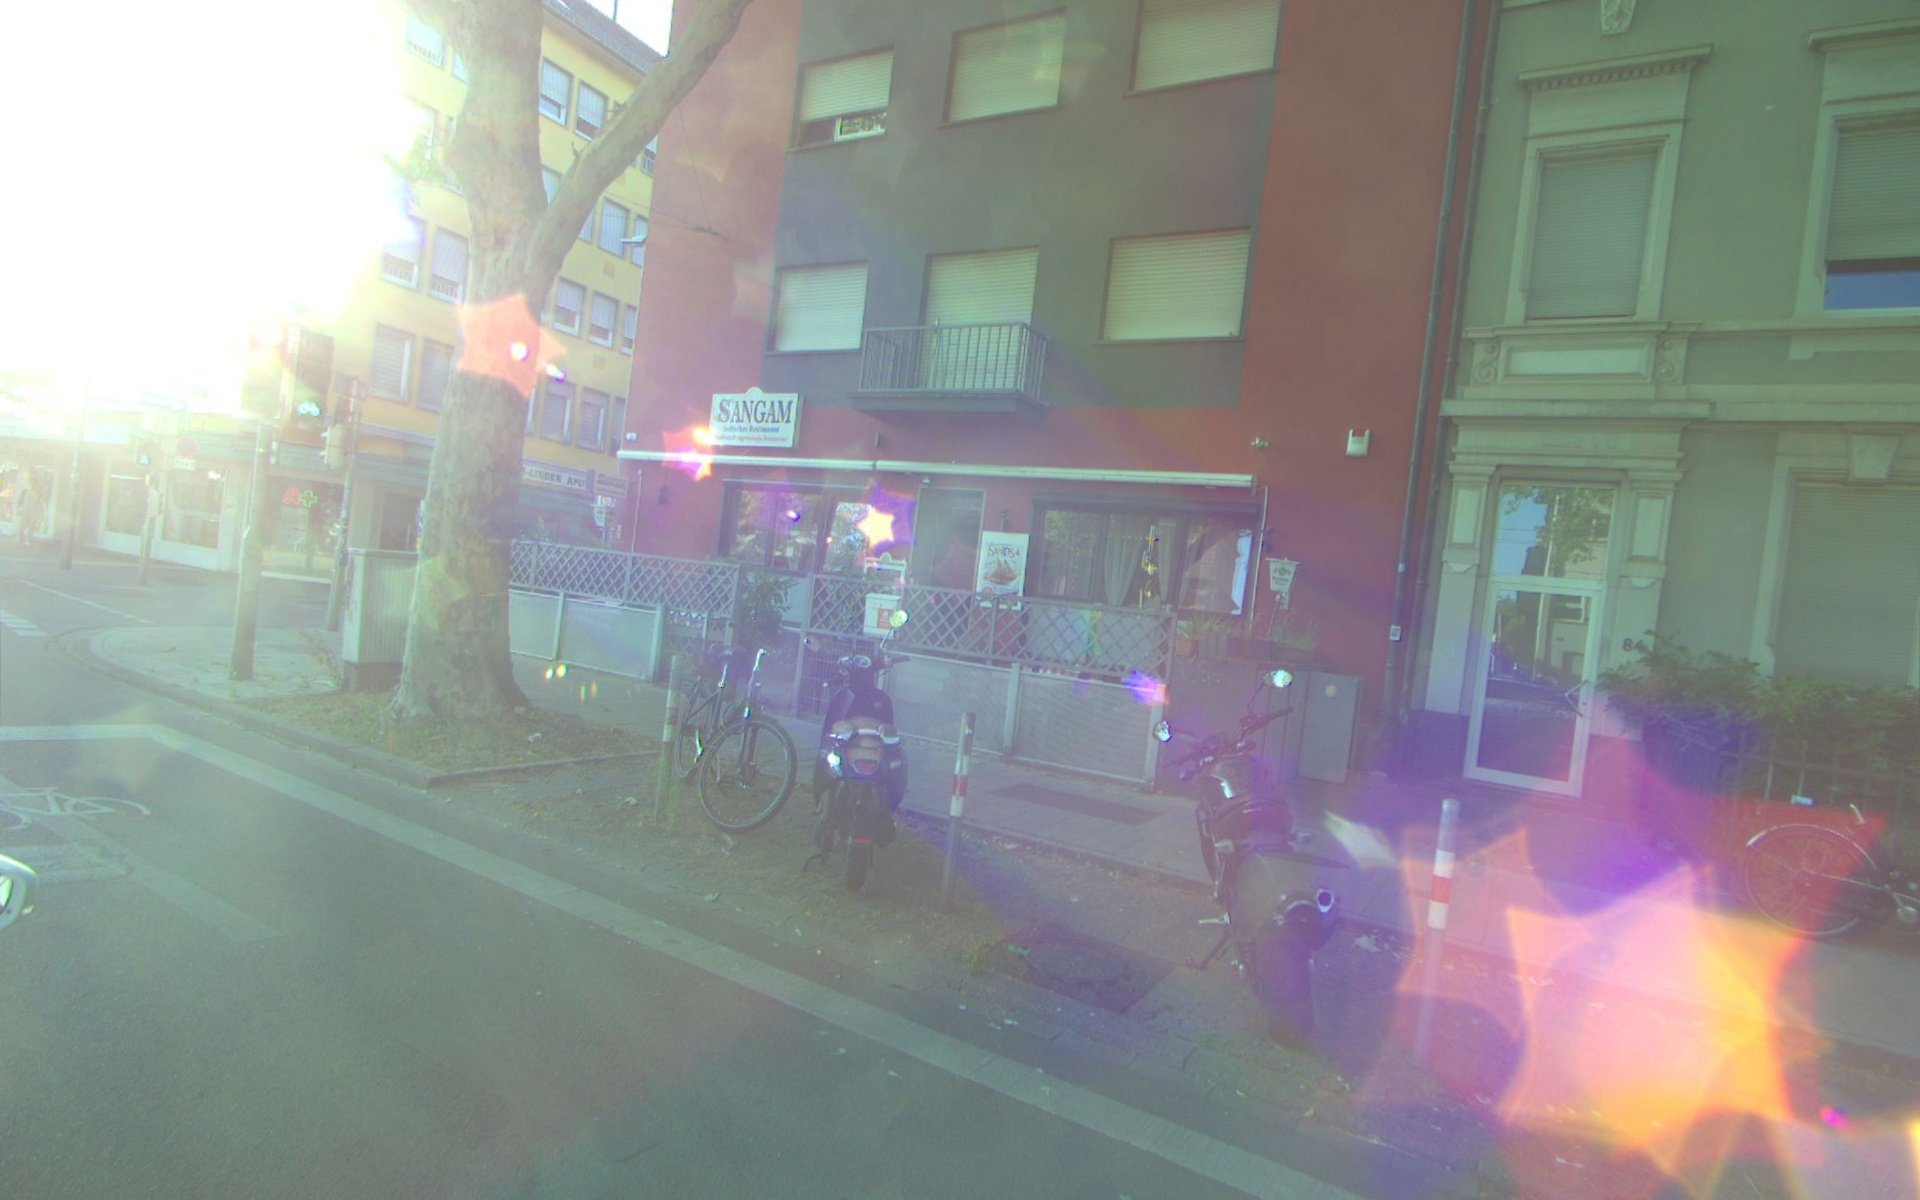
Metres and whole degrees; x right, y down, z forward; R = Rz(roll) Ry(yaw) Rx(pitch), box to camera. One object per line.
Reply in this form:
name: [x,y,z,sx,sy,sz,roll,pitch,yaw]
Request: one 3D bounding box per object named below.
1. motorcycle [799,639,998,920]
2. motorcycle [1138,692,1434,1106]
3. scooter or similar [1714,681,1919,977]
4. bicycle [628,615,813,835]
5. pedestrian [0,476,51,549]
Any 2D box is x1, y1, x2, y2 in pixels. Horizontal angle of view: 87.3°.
motorcycle: [-0.436,0.908,5.725,0.772,1.126,1.885,7,2,-11]
motorcycle: [1.327,1.147,4.614,0.651,1.125,2.212,7,2,4]
scooter or similar: [5.771,1.353,5.451,2.502,1.488,0.665,7,1,32]
bicycle: [-1.688,0.778,6.848,0.614,1.126,1.784,5,3,-31]
pedestrian: [-25.154,-2.345,27.027,0.880,1.801,0.744,6,0,31]
